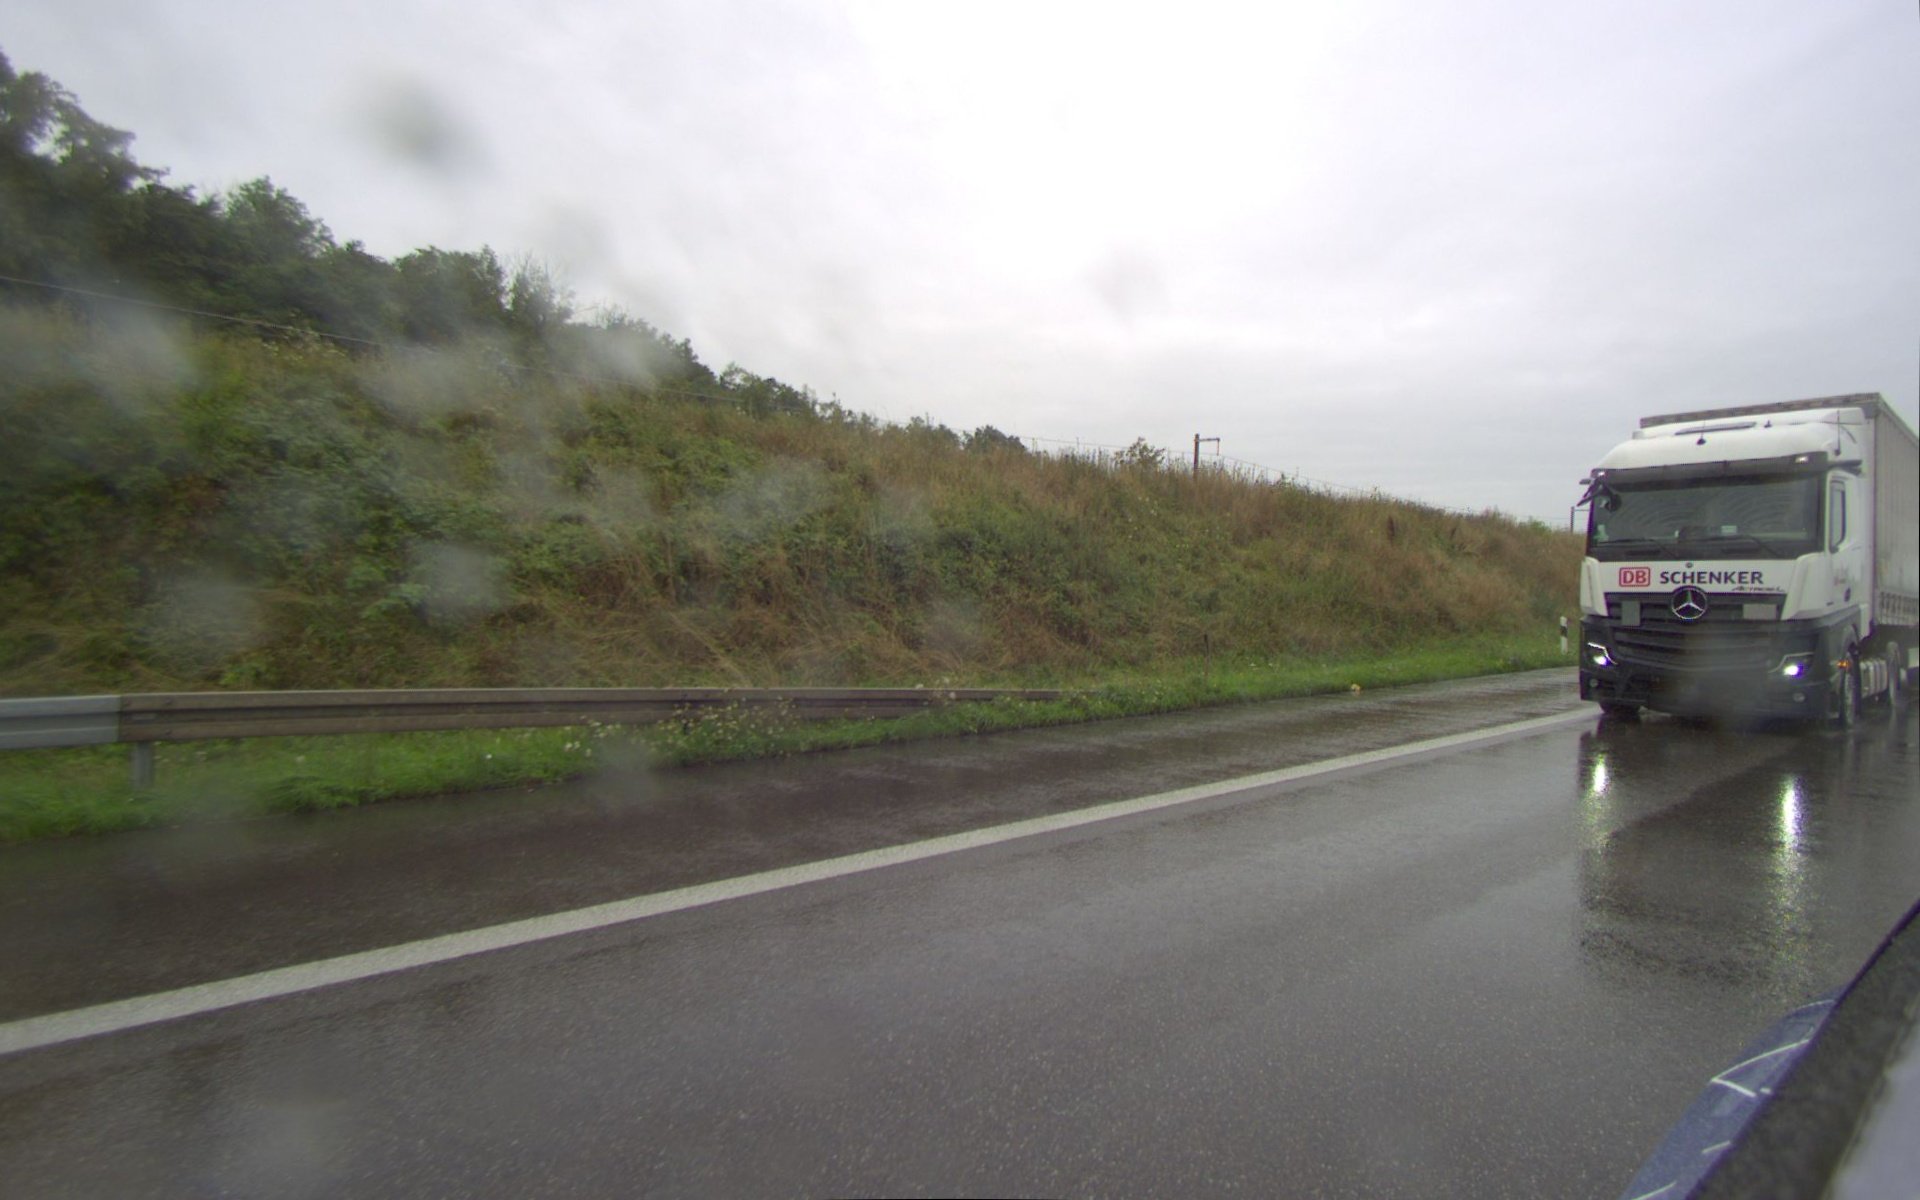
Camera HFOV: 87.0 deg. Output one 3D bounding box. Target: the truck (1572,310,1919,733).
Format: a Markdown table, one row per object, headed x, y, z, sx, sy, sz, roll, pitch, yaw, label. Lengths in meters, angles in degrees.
| x | y | z | sx | sy | sz | roll | pitch | yaw | label |
| --- | --- | --- | --- | --- | --- | --- | --- | --- | --- |
| 10.146 | -0.827 | 12.933 | 4.956 | 4.307 | 2.630 | 0 | 0 | -41 | truck |

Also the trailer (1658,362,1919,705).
| x | y | z | sx | sy | sz | roll | pitch | yaw | label |
| --- | --- | --- | --- | --- | --- | --- | --- | --- | --- |
| 16.271 | -0.908 | 18.275 | 13.928 | 4.302 | 2.631 | -1 | 0 | -41 | trailer |
